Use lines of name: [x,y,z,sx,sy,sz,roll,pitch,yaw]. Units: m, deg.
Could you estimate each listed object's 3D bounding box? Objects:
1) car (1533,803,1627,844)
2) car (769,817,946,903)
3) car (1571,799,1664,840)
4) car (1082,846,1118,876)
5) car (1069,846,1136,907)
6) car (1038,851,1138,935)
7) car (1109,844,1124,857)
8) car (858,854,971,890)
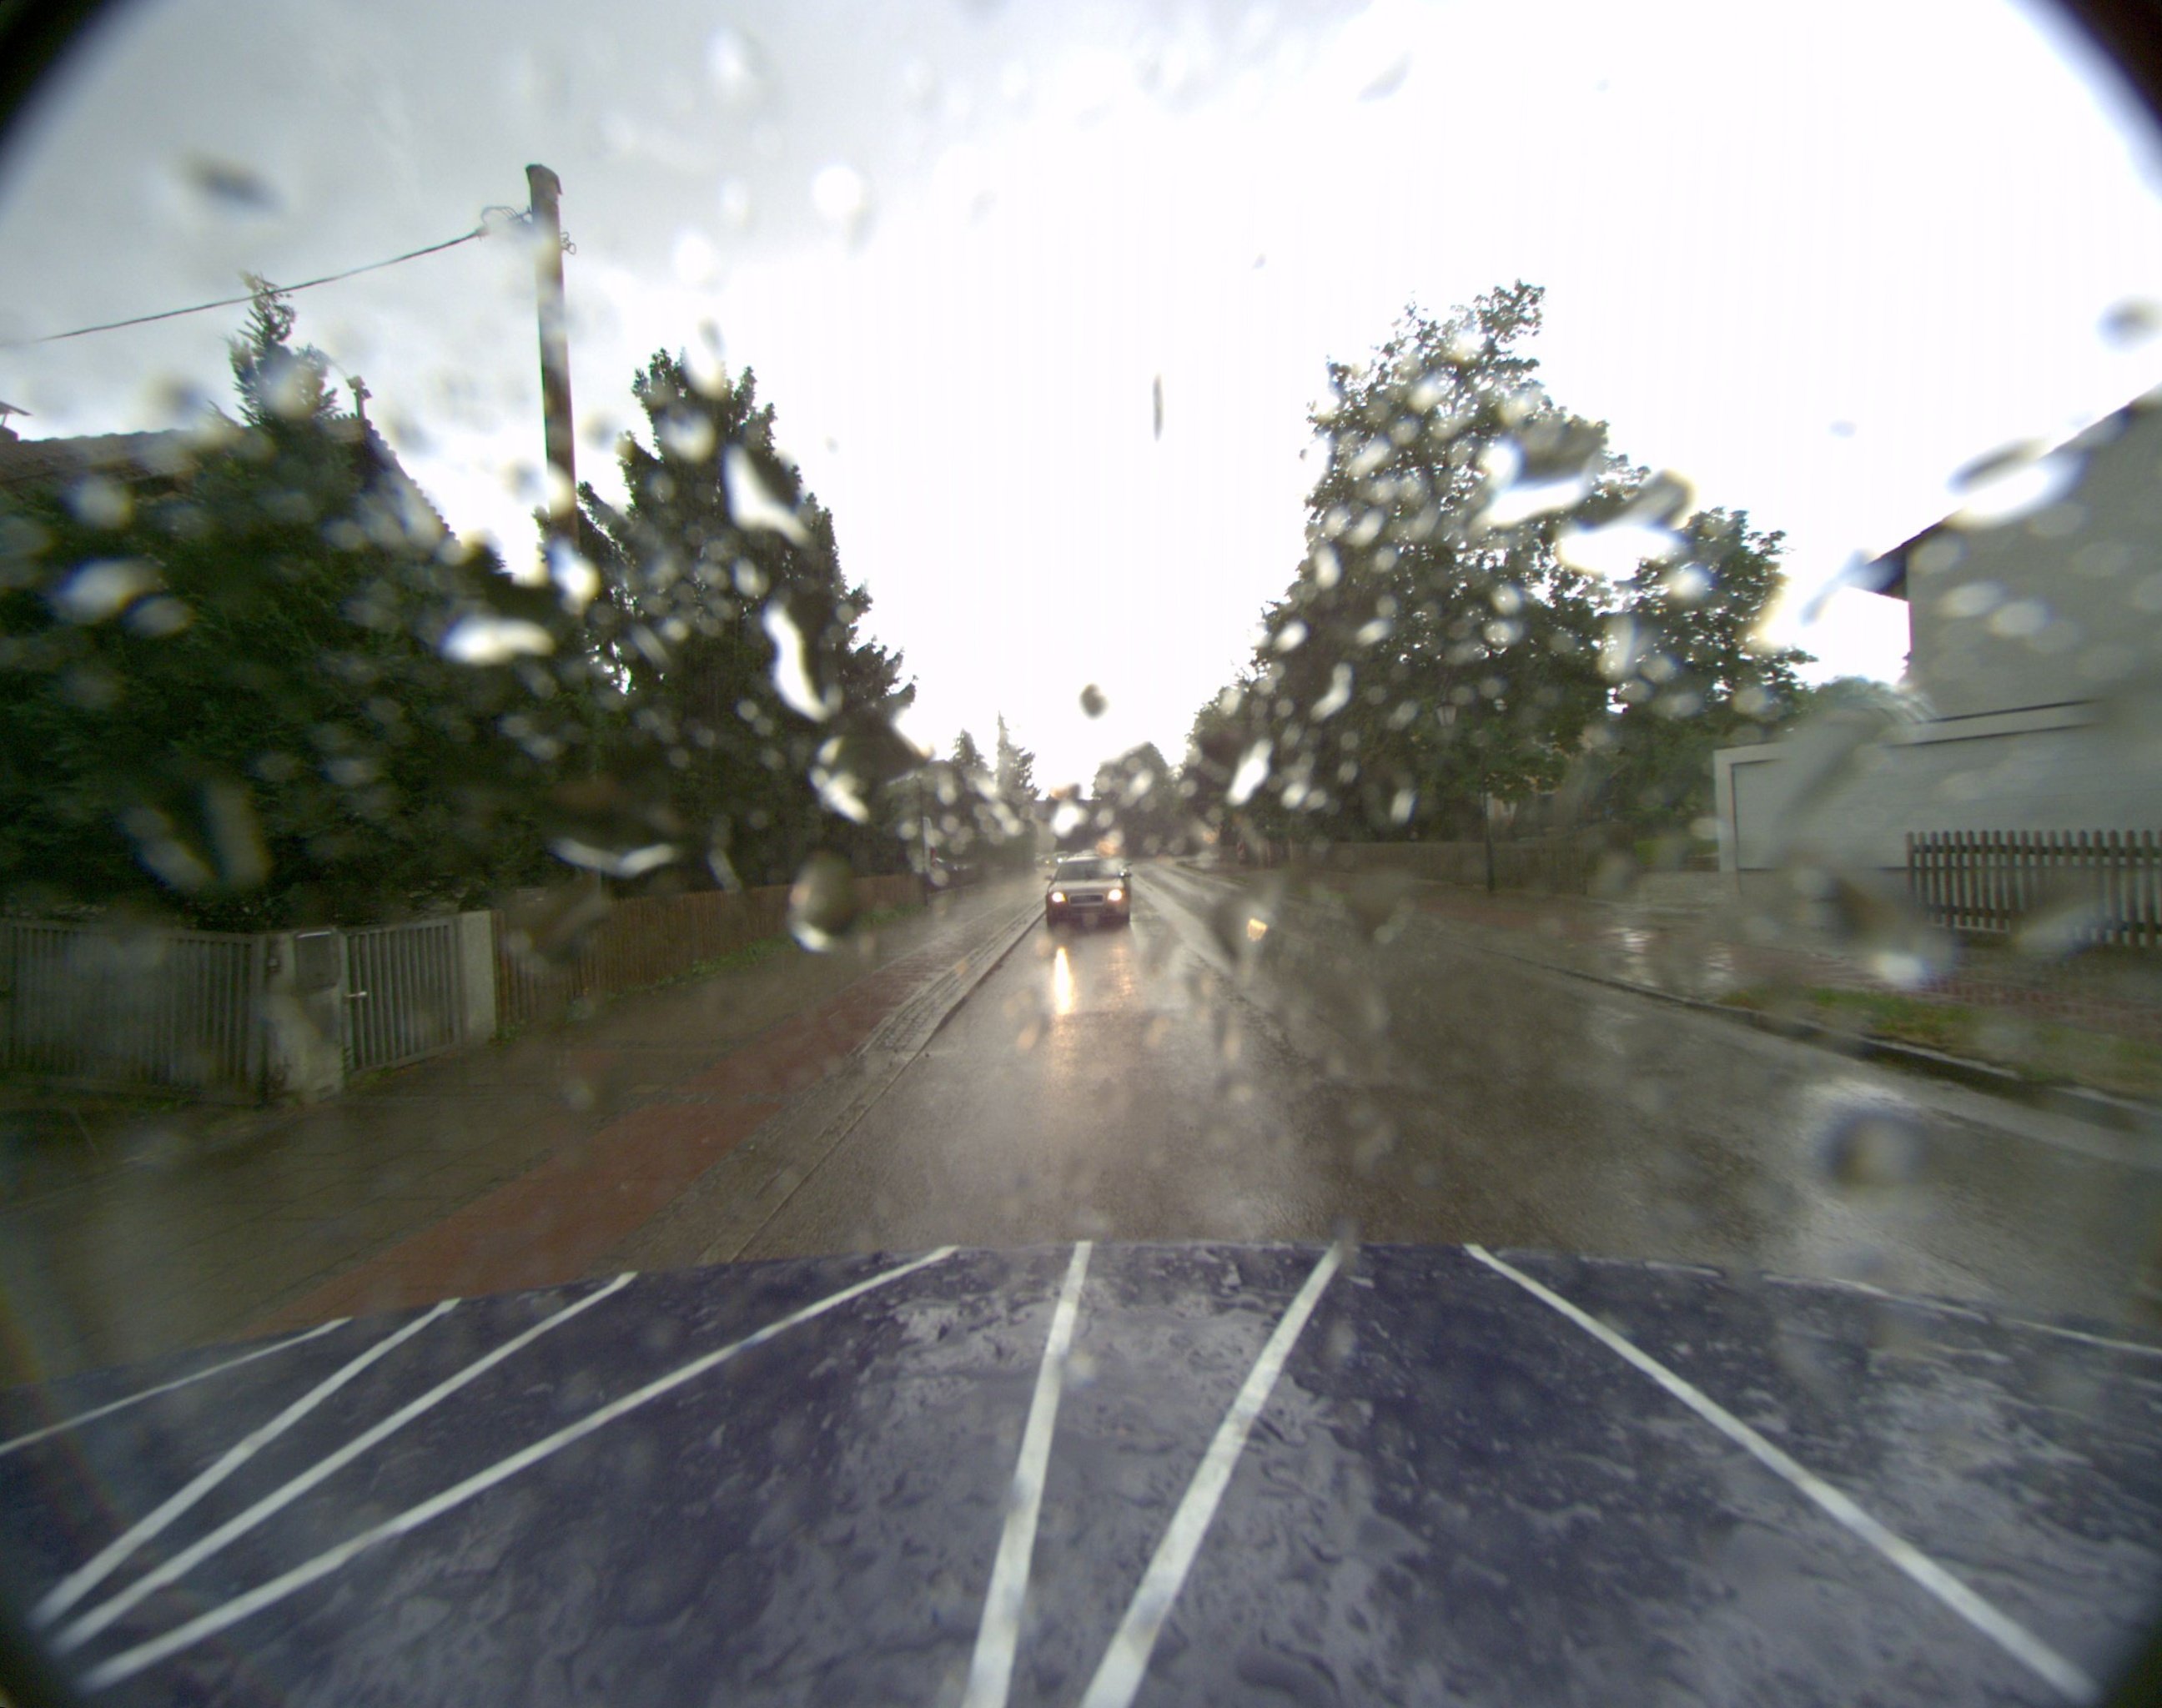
car: [26.751,-1.623,40.849,1.845,1.792,3.649,-6,0,-32]
car: [-7.227,0.175,25.104,5.320,2.712,1.998,0,1,-8]
car: [29.449,-1.878,41.803,1.845,1.792,3.649,-6,0,-32]
car: [1.114,0.387,44.864,1.872,1.512,4.960,-4,1,2]
car: [0.707,0.650,24.987,1.872,1.603,4.960,-4,2,2]
car: [0.196,0.750,16.884,1.872,1.512,4.188,-3,1,2]
car: [4.233,-0.465,91.245,1.642,1.512,4.188,-1,0,2]
car: [-6.891,0.734,31.793,4.443,1.413,1.829,0,1,-6]
